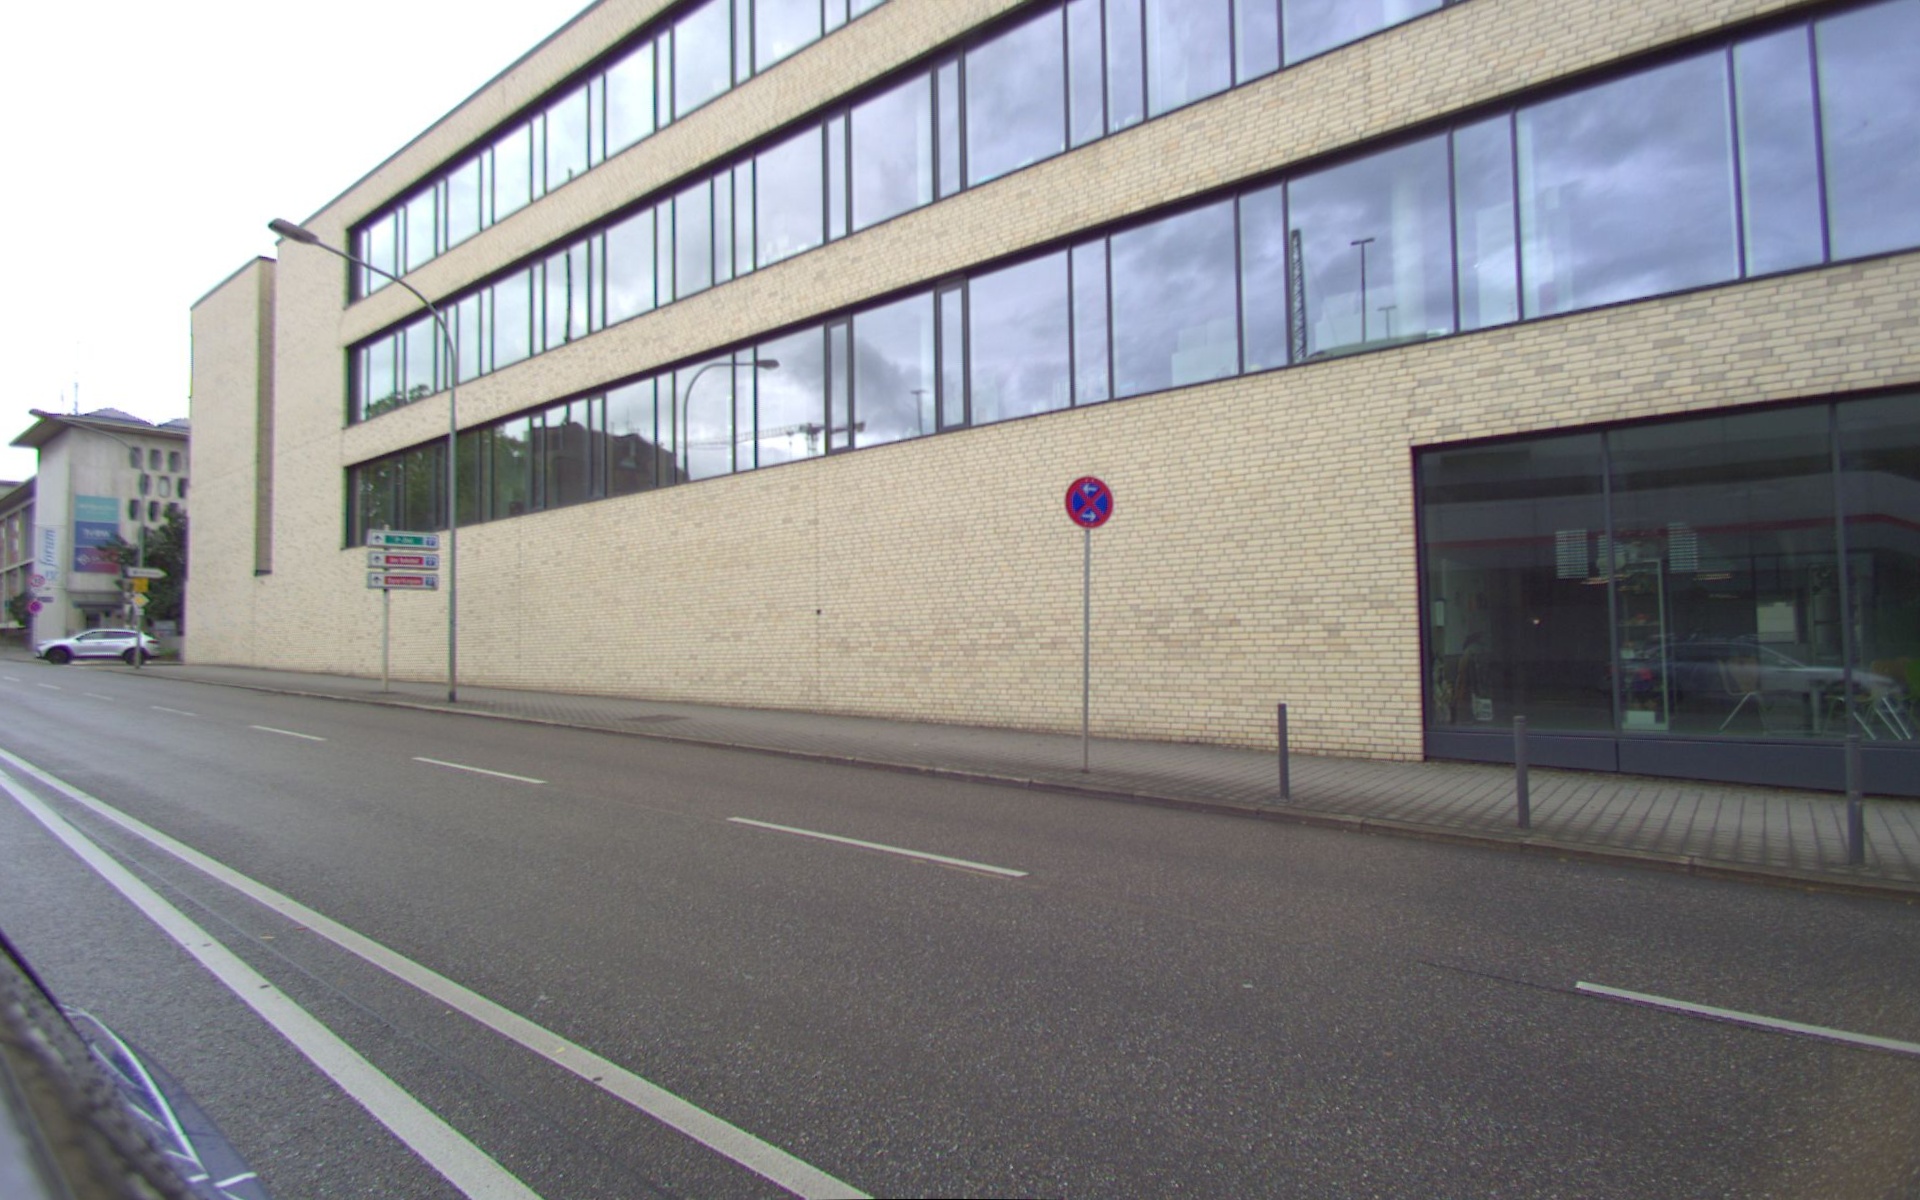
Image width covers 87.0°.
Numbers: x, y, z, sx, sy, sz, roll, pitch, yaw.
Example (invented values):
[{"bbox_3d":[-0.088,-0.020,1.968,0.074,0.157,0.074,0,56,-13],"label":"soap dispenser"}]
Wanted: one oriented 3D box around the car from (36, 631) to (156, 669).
[{"bbox_3d":[-38.907,2.230,45.702,3.989,1.537,1.806,-1,-1,-36],"label":"car"}]
